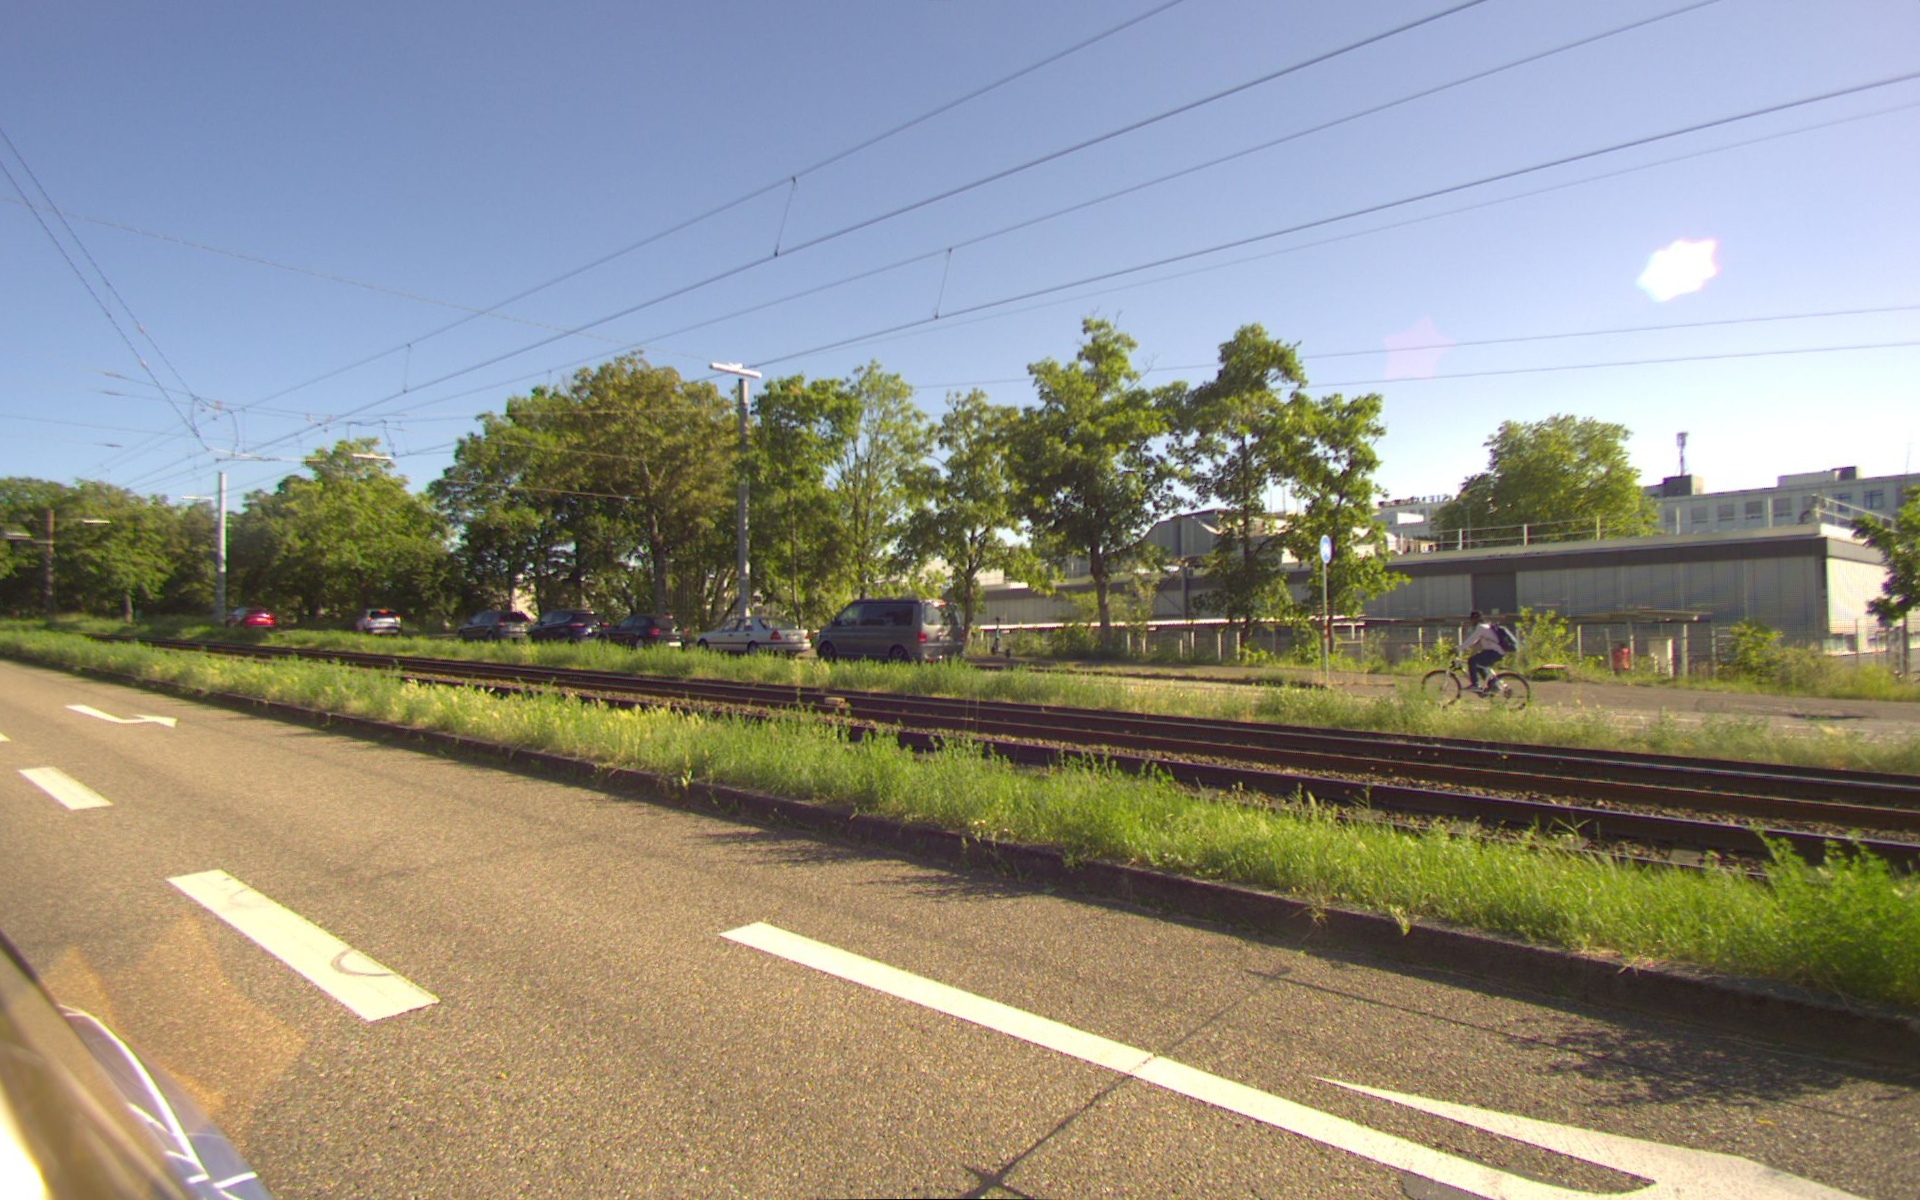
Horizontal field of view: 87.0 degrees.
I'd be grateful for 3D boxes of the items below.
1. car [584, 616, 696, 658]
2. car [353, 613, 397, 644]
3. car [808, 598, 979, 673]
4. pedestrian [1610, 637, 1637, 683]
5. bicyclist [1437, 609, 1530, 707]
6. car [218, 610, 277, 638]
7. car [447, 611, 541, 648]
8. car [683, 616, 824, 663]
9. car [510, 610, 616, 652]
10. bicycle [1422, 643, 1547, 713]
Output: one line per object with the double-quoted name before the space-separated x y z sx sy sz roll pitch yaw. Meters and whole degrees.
"car" -11.782 1.314 37.133 4.486 1.437 1.935 -1 -1 42
"car" -30.540 1.465 52.761 1.830 1.569 4.168 0 -1 -32
"car" -1.952 0.962 28.597 4.684 1.949 2.178 -1 -1 42
"pedestrian" 19.008 1.721 28.987 0.435 1.310 0.441 -1 -2 -1
"bicyclist" 8.960 0.963 17.336 1.236 1.605 0.794 -1 -1 42
"car" -47.069 1.568 66.813 4.797 1.746 2.290 -1 -1 43
"car" -20.824 1.307 45.142 4.557 1.575 2.103 -1 -1 40
"car" -6.795 1.257 33.137 4.612 1.391 2.103 -1 -1 39
"car" -15.984 1.232 40.676 4.614 1.599 2.102 -1 -1 41
"bicycle" 8.960 1.305 17.337 1.781 1.110 0.689 -1 -1 42
